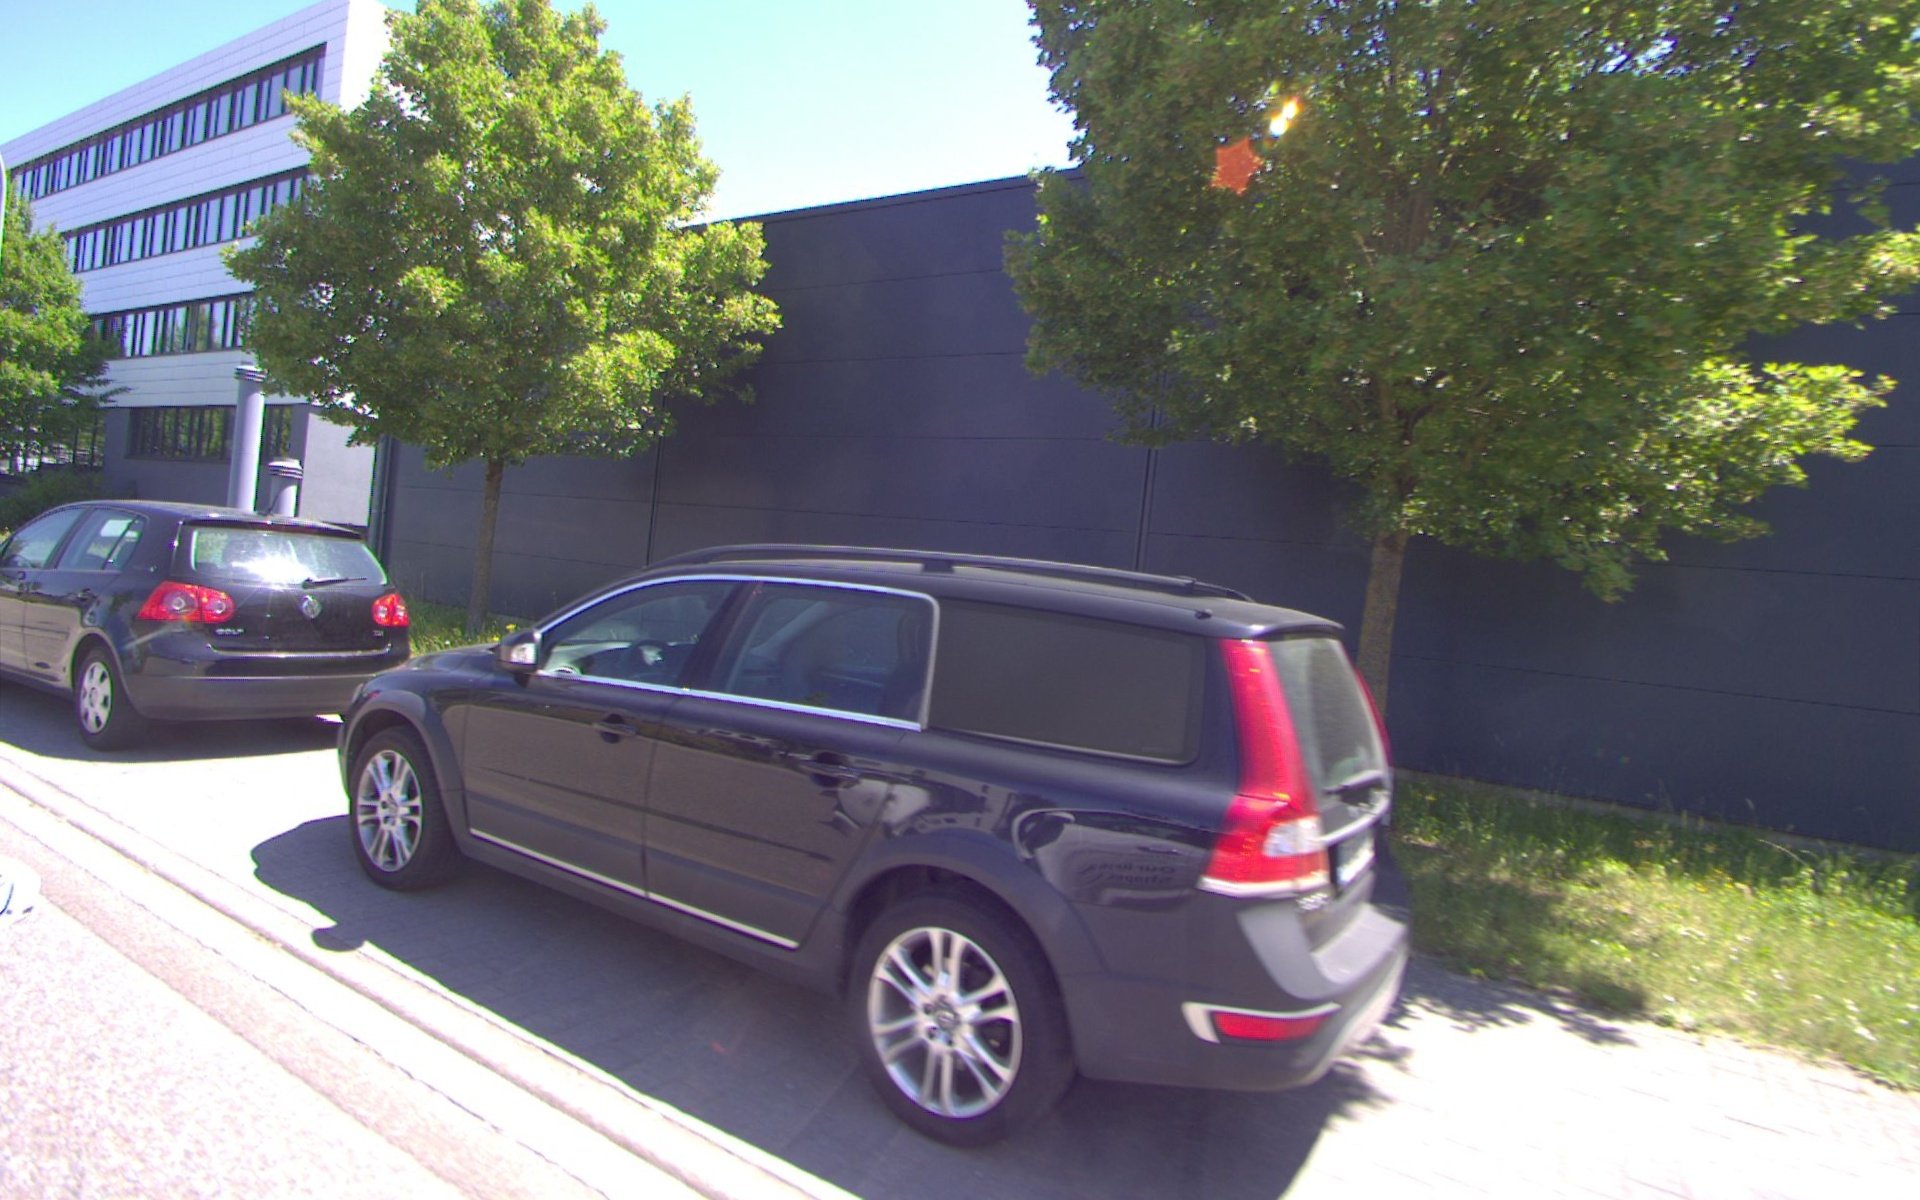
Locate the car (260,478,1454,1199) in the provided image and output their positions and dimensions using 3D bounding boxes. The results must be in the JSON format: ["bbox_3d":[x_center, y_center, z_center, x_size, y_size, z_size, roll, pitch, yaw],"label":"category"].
[{"bbox_3d":[-0.698,0.532,4.140,4.636,1.639,1.808,7,2,31],"label":"car"}]

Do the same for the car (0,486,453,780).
[{"bbox_3d":[-5.725,0.057,7.222,4.198,1.495,1.693,7,2,31],"label":"car"}]
